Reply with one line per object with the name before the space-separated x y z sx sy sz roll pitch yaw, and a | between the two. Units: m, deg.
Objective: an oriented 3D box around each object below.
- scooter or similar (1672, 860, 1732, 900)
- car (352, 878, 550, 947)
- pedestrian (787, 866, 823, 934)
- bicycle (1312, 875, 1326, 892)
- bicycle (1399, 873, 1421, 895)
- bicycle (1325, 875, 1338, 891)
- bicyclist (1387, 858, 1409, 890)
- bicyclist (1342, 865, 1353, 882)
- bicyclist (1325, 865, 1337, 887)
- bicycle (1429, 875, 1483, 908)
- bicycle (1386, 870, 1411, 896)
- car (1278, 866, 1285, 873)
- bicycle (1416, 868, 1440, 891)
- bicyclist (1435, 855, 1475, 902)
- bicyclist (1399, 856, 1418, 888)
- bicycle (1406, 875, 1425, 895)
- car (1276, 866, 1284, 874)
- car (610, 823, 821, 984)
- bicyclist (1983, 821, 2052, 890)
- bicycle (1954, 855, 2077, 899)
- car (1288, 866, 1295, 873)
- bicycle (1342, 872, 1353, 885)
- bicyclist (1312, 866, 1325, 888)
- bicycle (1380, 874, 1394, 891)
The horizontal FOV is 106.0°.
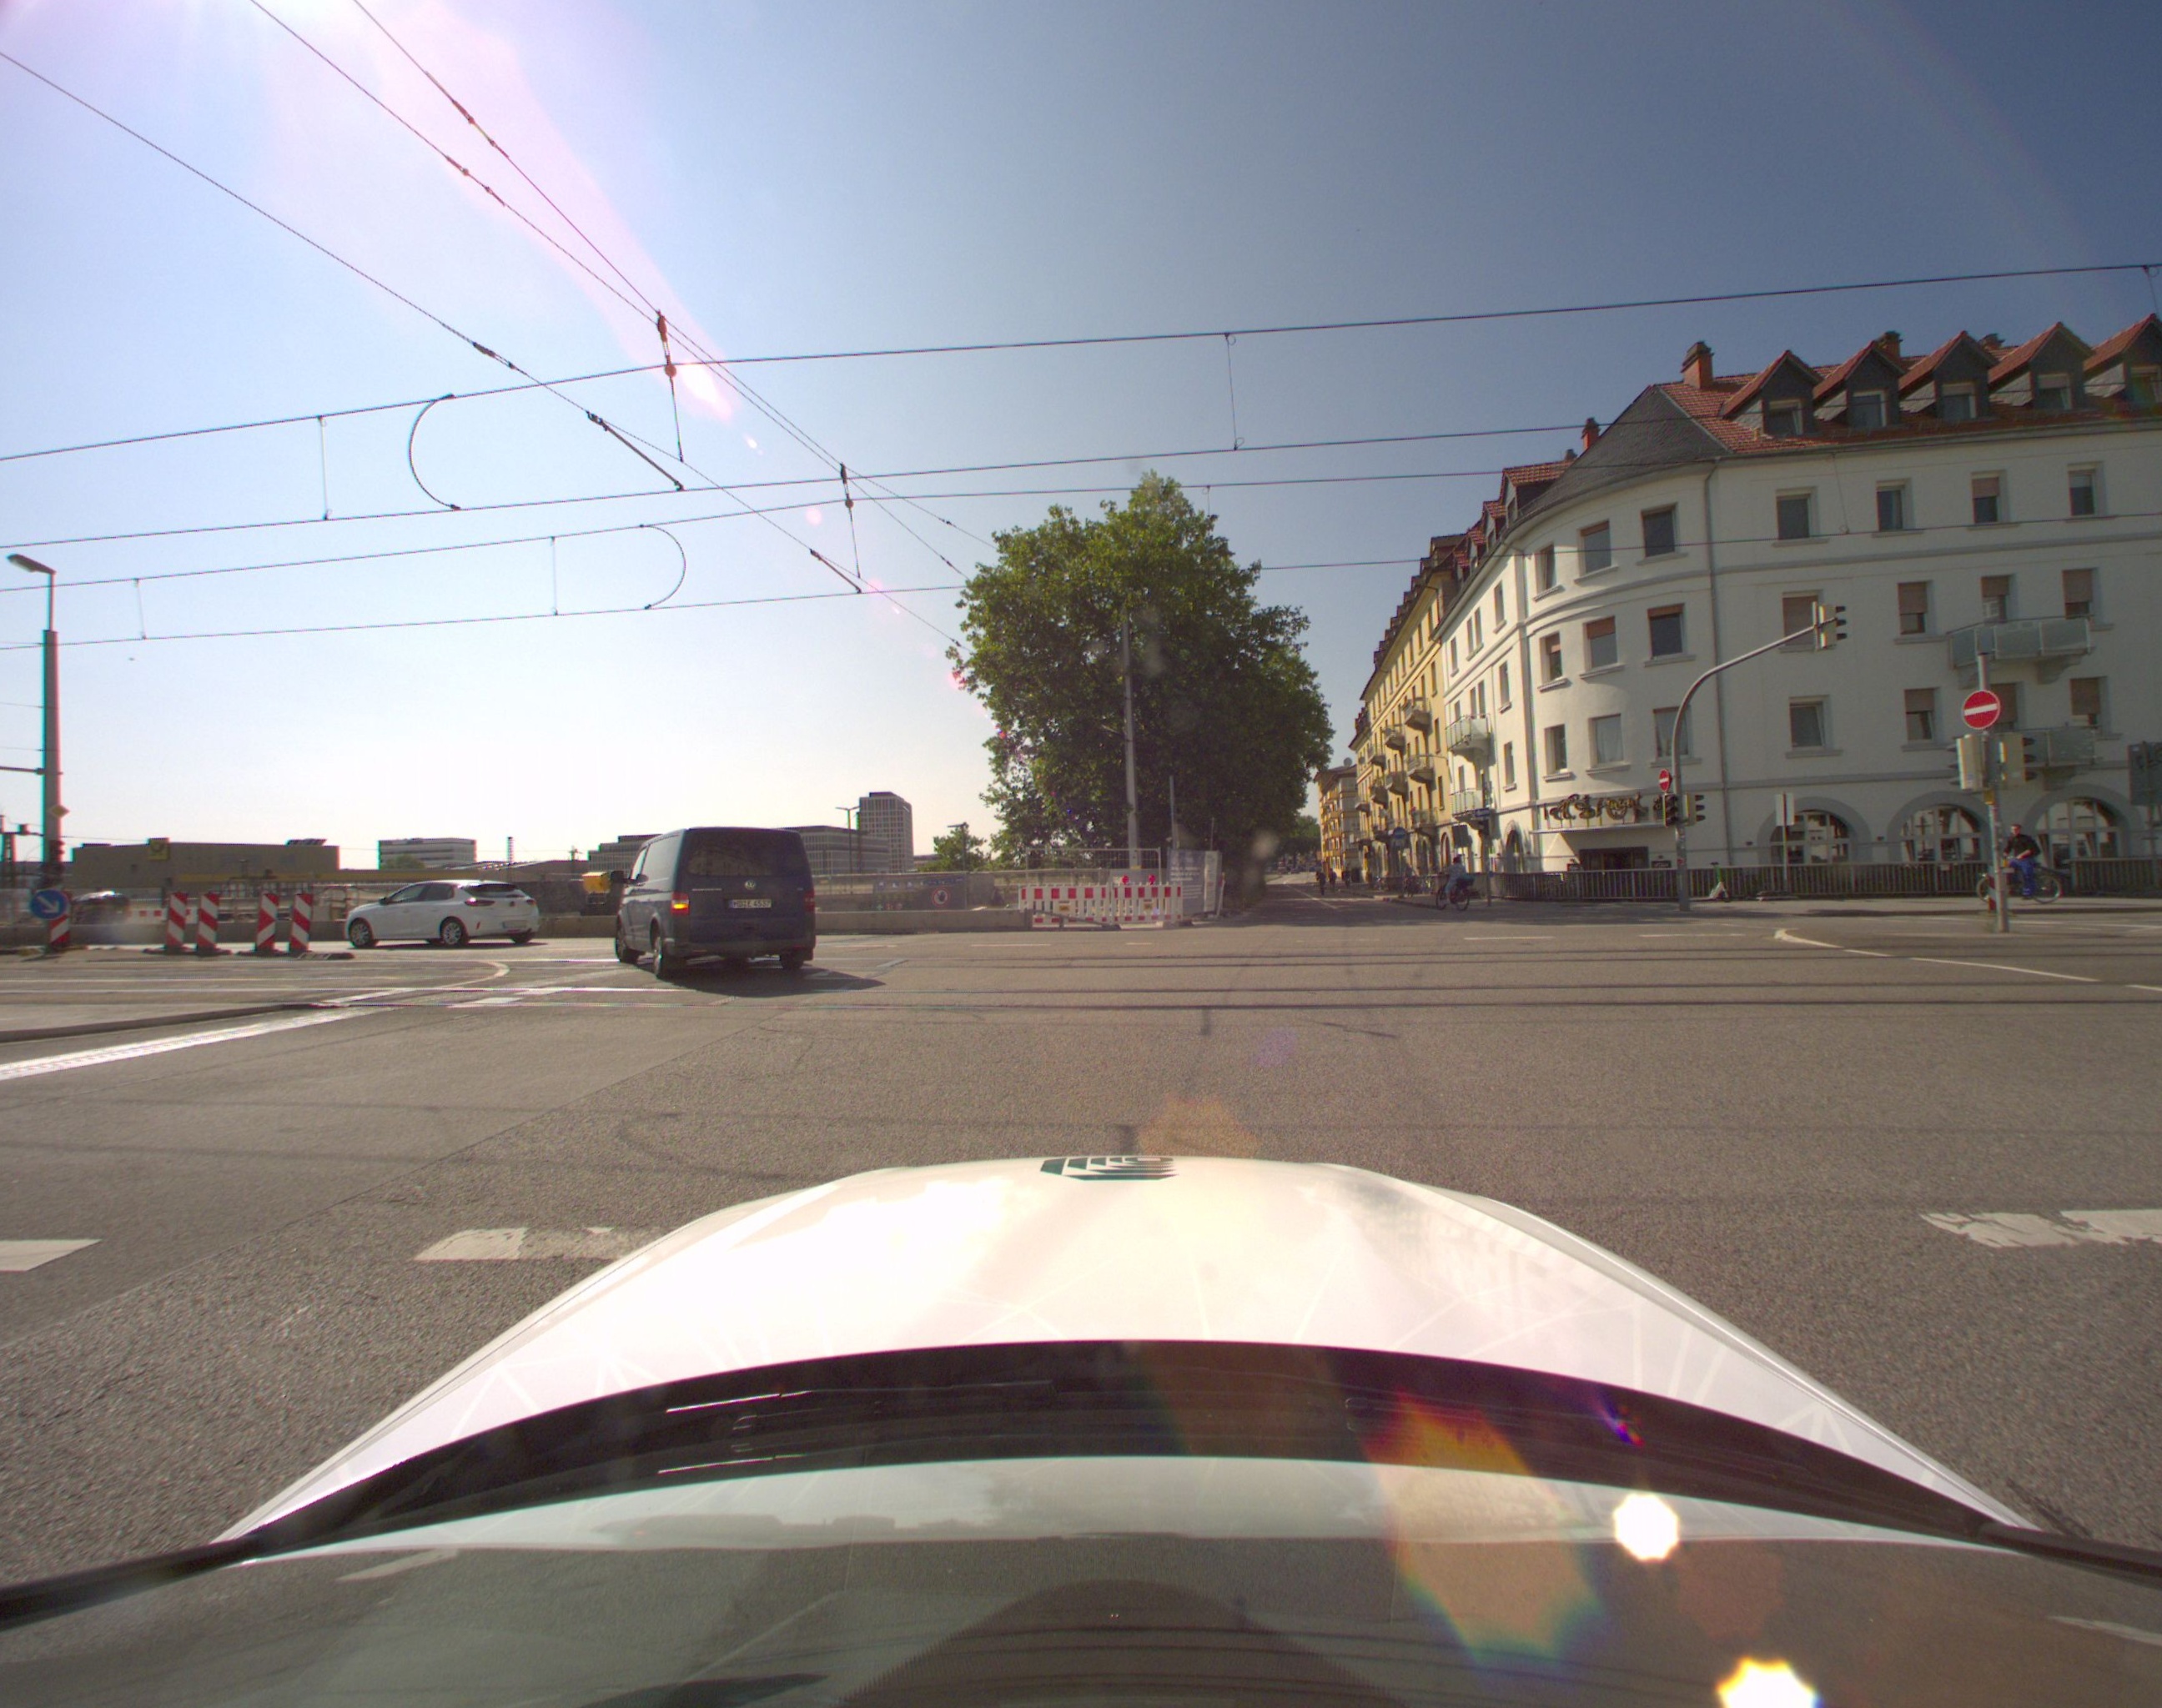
scooter or similar | 17.662 0.736 23.179 1.288 1.118 0.341 -2 -1 26
car | -13.835 1.276 17.955 3.376 1.405 1.730 -2 -2 15
pedestrian | -7.652 1.264 22.546 0.864 1.795 0.816 -2 0 -21
bicycle | 16.675 2.076 57.029 0.831 1.137 2.871 -2 -2 17
bicycle | 16.338 1.477 40.508 0.703 0.991 1.826 -4 -1 14
bicycle | 18.284 2.085 59.512 0.831 1.137 2.871 -2 -2 16
bicyclist | 14.860 0.939 38.177 0.831 1.508 0.957 -2 -2 16
bicyclist | 23.907 1.741 73.101 0.831 1.538 1.028 -2 -2 16
bicyclist | 18.303 1.603 59.631 0.831 1.538 1.028 -2 -2 16
bicycle | 11.805 1.165 25.731 0.861 0.990 2.250 -1 -1 6
bicycle | 14.894 1.342 38.260 0.831 1.137 2.870 -2 -2 16
car | 52.472 4.077 212.828 1.615 1.623 3.709 -1 0 13
bicycle | 18.042 1.325 42.399 0.831 1.137 2.870 -2 -2 16
bicyclist | 11.766 0.769 25.661 0.861 1.415 0.919 -1 -2 6
bicyclist | 16.315 0.894 40.560 0.703 1.550 0.787 -4 -1 14
bicycle | 18.925 1.731 46.061 0.675 1.075 2.301 -2 -1 15
car | 44.773 3.573 183.233 1.615 1.623 3.709 -1 0 13
car | -5.421 0.592 11.778 1.830 1.905 4.008 -2 0 -38
bicyclist | 23.297 0.035 20.275 0.996 1.653 0.814 -1 1 40
bicycle | 23.256 0.571 20.326 1.887 1.020 0.827 -1 0 40
car | 55.121 4.010 212.996 1.615 1.623 3.709 -1 0 13
bicycle | 23.934 2.193 73.136 0.831 1.137 2.871 -2 -2 16
bicyclist | 16.648 1.618 57.003 0.831 1.538 1.028 -2 -2 16
bicycle | 21.211 1.971 56.531 0.675 1.075 2.301 -2 -1 15
